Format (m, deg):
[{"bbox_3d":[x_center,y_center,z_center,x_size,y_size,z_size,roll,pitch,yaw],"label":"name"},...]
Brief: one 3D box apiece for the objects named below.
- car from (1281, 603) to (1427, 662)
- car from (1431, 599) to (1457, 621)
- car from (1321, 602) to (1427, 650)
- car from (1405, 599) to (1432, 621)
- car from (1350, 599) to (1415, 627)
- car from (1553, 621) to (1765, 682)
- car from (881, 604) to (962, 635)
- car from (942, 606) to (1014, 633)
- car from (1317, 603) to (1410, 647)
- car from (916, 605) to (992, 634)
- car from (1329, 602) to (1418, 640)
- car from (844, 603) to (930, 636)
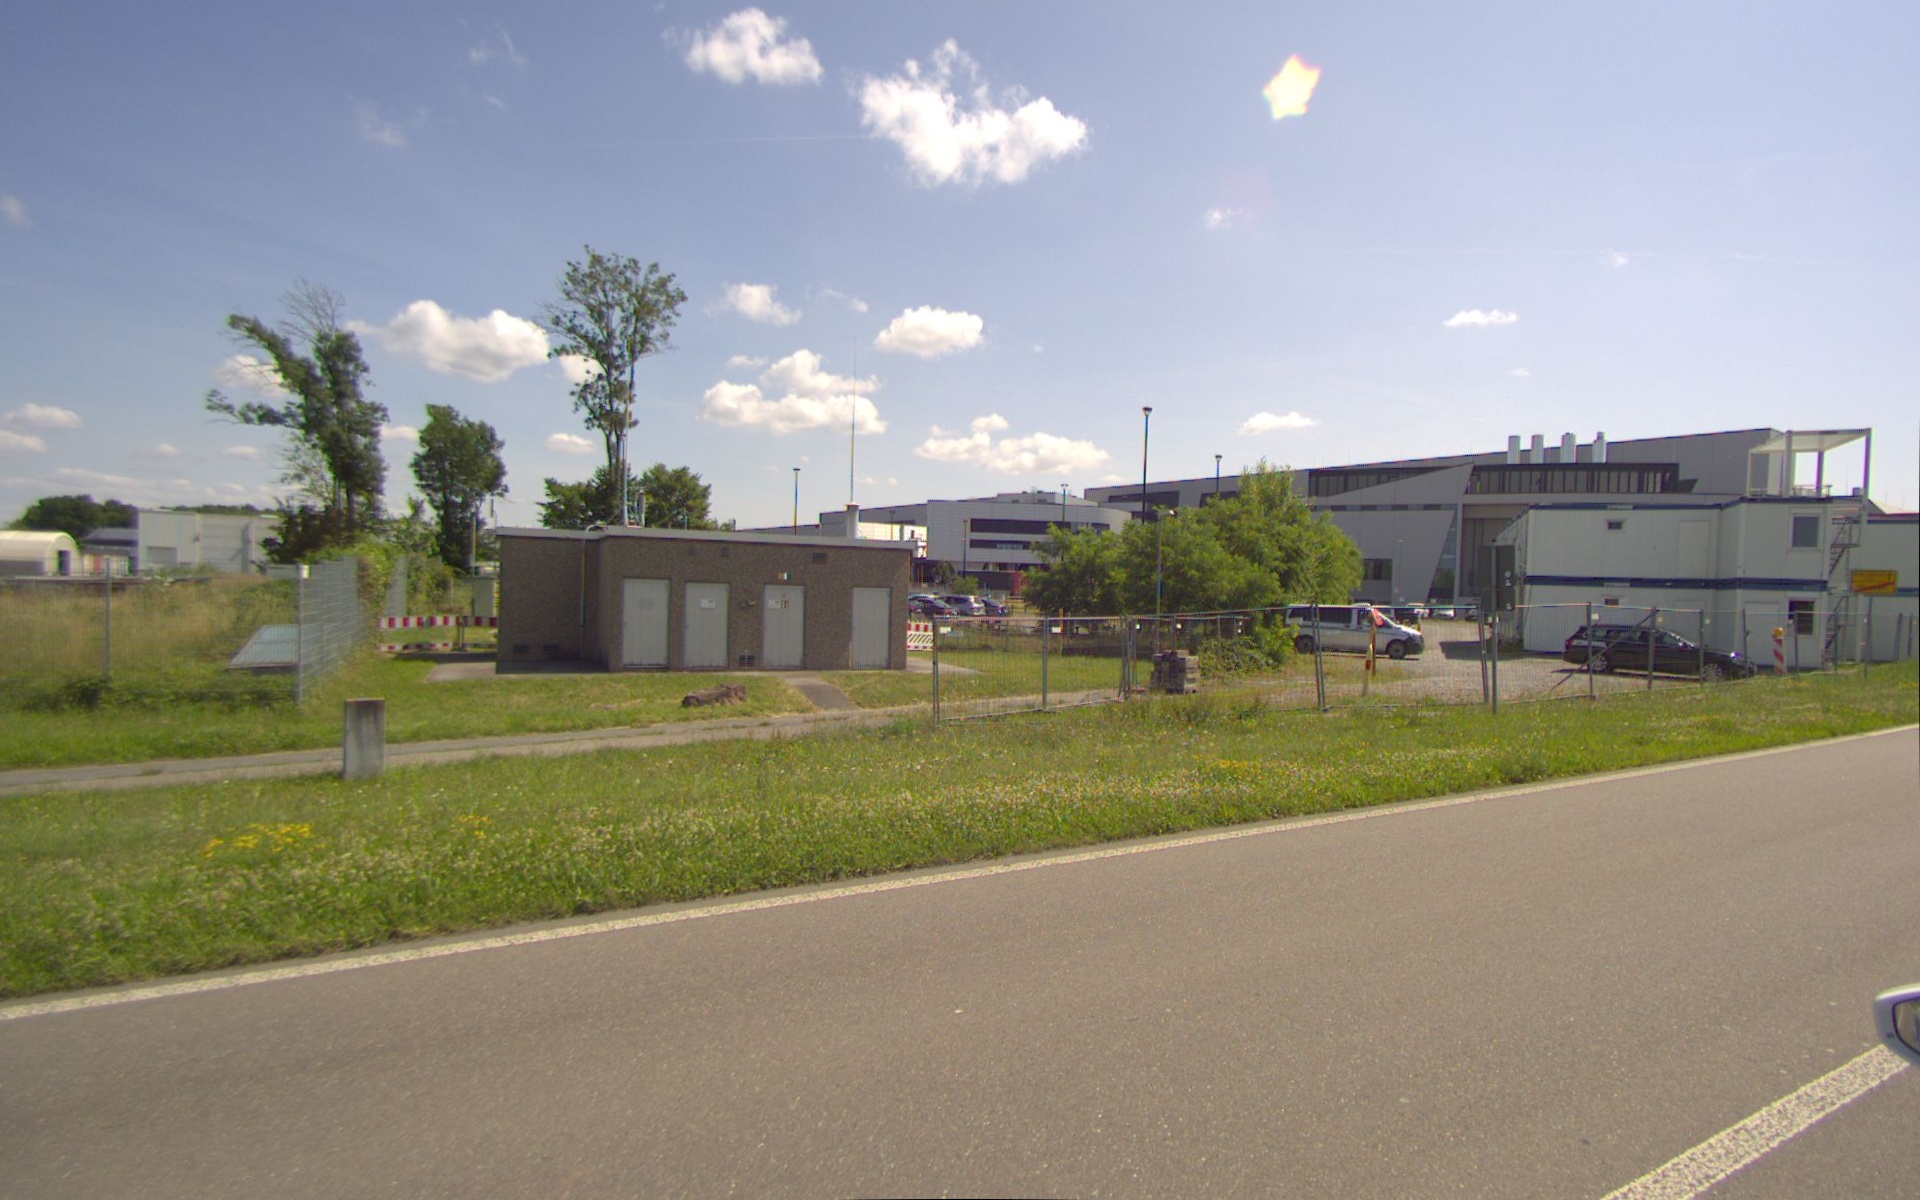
[{"bbox_3d":[14.771,1.176,37.748,4.926,1.892,1.998,2,1,25],"label":"car"},{"bbox_3d":[44.549,0.901,92.474,1.963,1.892,4.308,2,1,28],"label":"car"},{"bbox_3d":[18.470,1.112,44.863,4.232,1.892,1.998,2,1,25],"label":"car"},{"bbox_3d":[42.623,0.881,93.315,1.963,1.892,4.308,2,1,28],"label":"car"},{"bbox_3d":[31.327,0.964,74.616,4.228,1.892,2.000,2,1,18],"label":"car"},{"bbox_3d":[20.702,1.453,29.898,4.917,1.436,1.987,2,1,45],"label":"car"},{"bbox_3d":[-2.074,1.055,54.315,3.924,1.574,1.999,1,0,24],"label":"car"},{"bbox_3d":[1.123,1.200,61.810,3.924,1.574,1.999,1,0,24],"label":"car"},{"bbox_3d":[20.321,1.209,50.590,4.232,1.974,1.998,2,1,25],"label":"car"},{"bbox_3d":[-0.347,1.136,58.722,3.924,1.574,1.999,1,0,24],"label":"car"},{"bbox_3d":[22.691,1.138,55.321,4.227,1.892,2.001,2,1,14],"label":"car"},{"bbox_3d":[-3.721,0.988,51.341,3.924,1.574,1.999,1,0,24],"label":"car"}]
